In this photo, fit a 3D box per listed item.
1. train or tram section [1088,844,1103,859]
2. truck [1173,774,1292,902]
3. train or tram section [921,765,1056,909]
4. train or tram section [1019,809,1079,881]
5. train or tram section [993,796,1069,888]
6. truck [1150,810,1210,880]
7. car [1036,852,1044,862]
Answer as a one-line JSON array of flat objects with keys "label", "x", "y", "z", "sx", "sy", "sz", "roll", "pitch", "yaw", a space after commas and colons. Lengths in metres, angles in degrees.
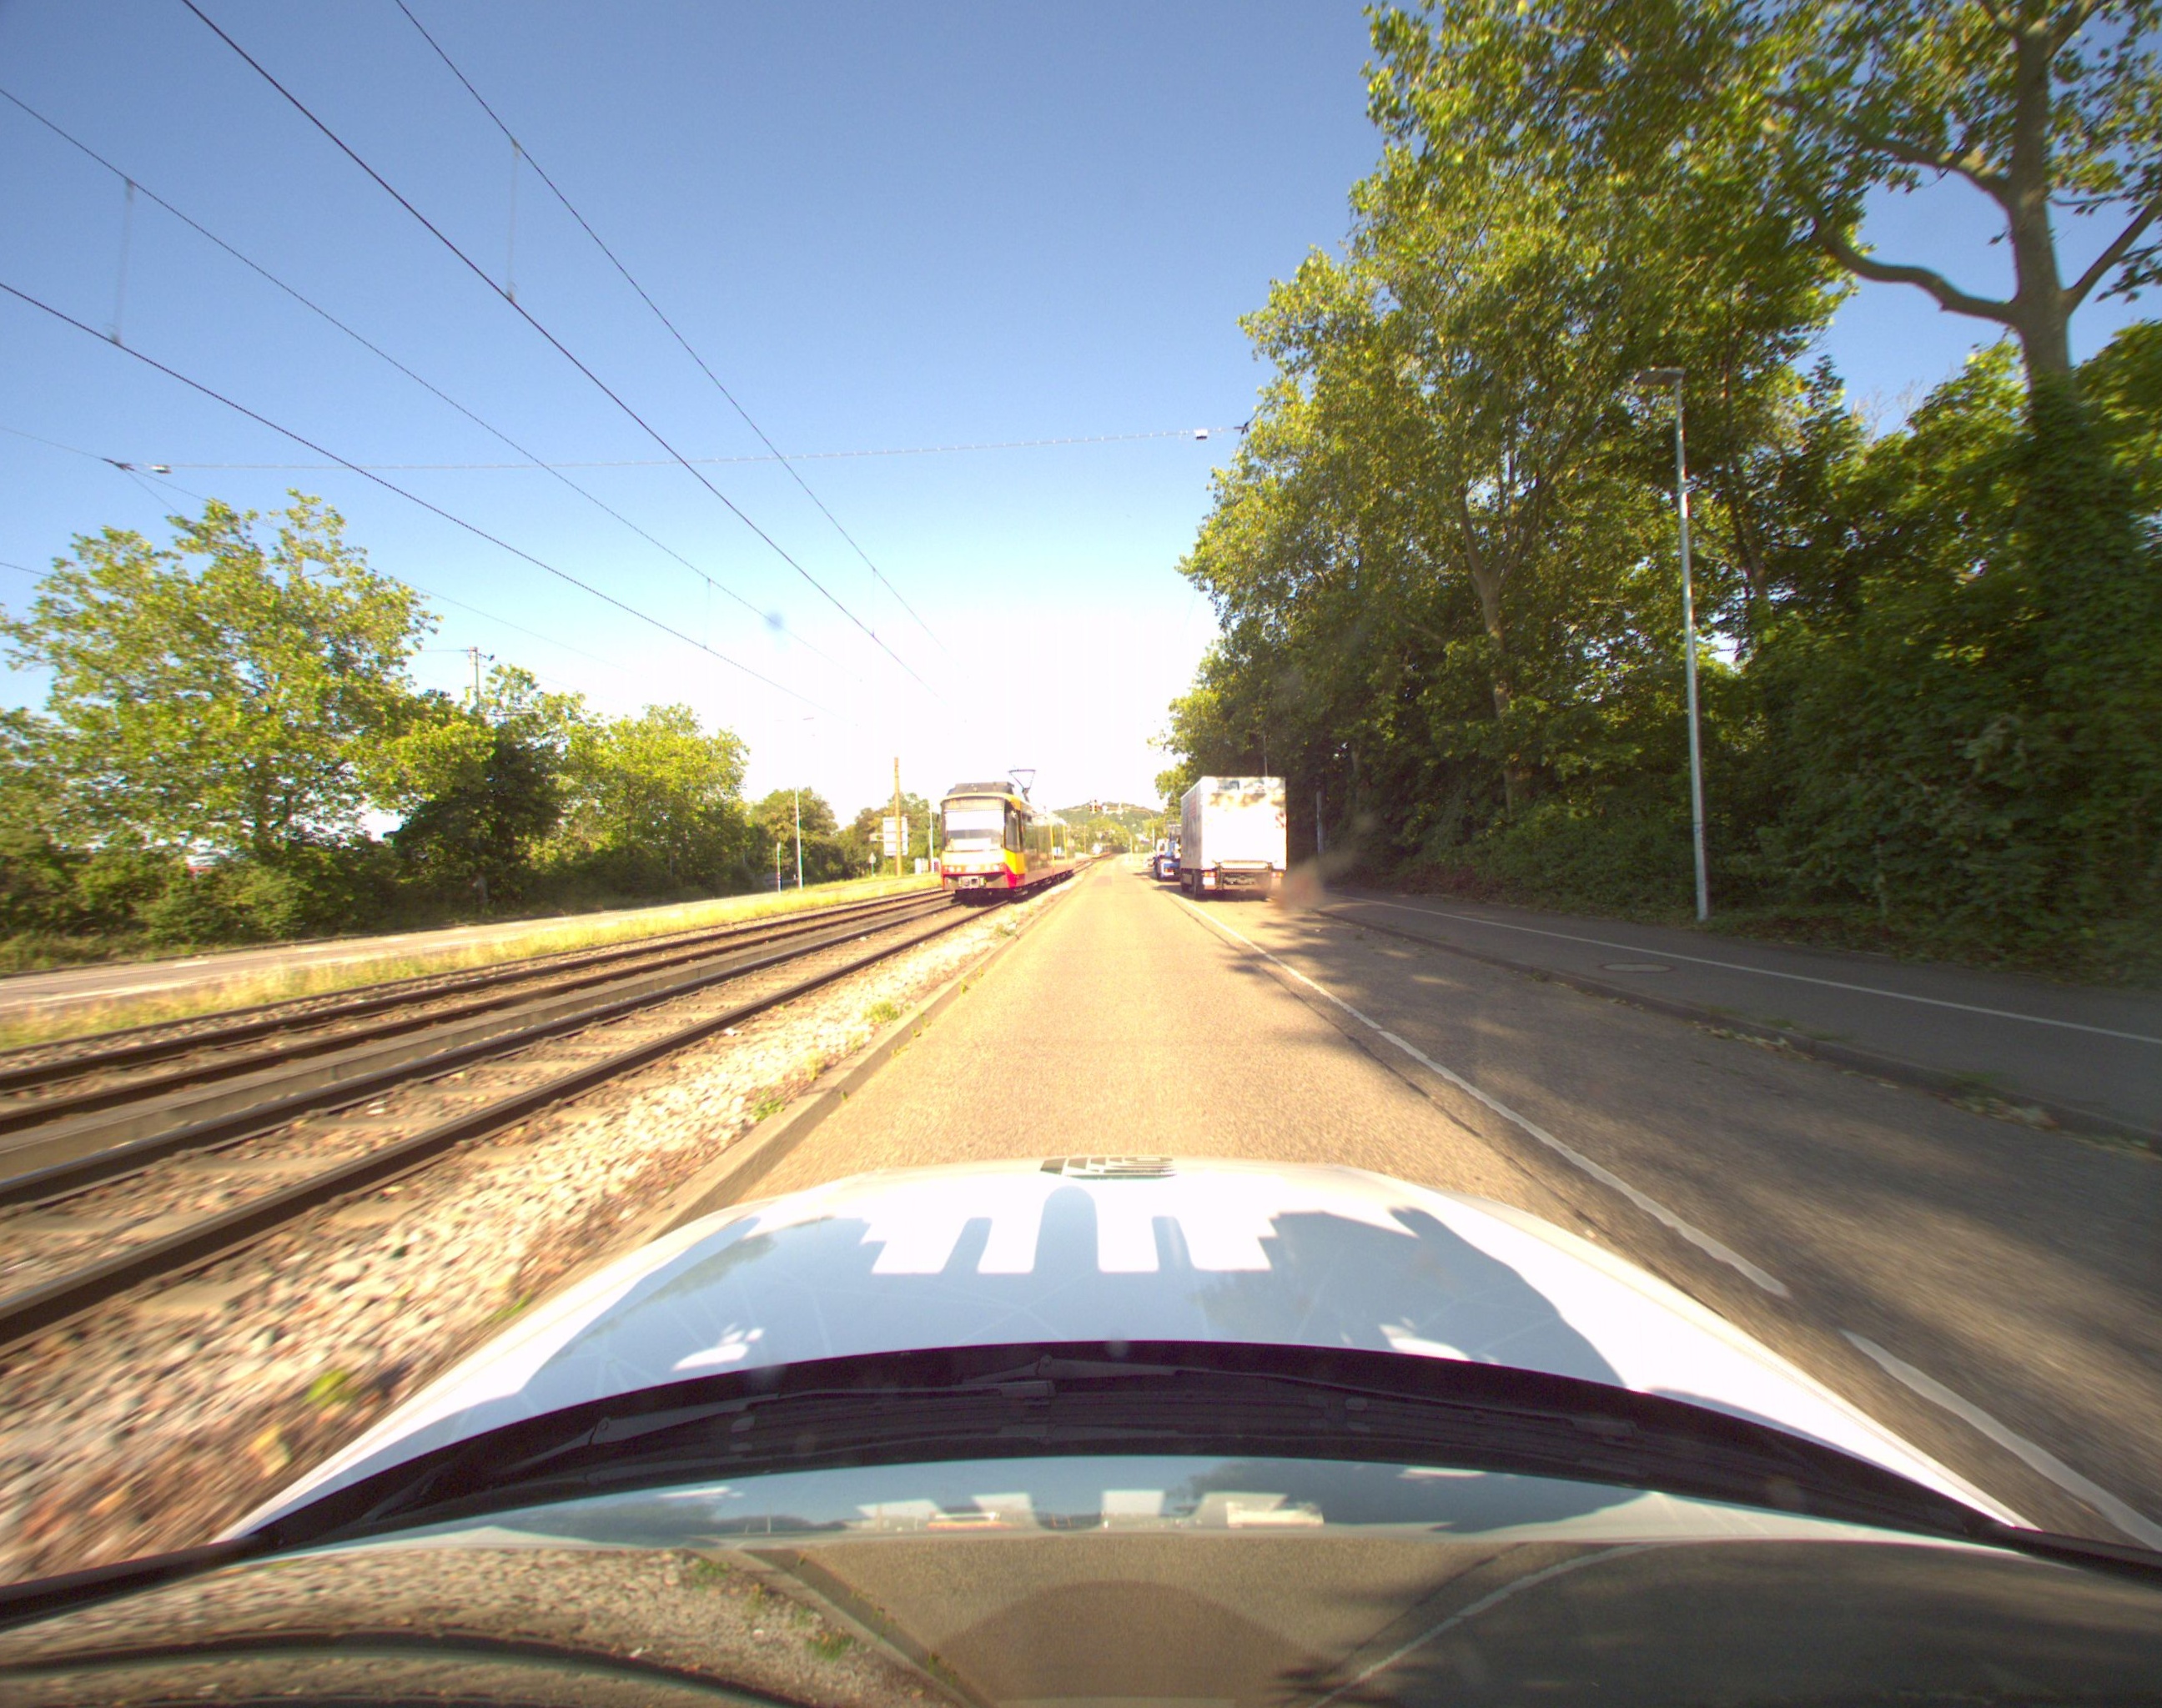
[{"label": "train or tram section", "x": 3.764, "y": -0.669, "z": 204.418, "sx": 2.631, "sy": 3.567, "sz": 10.850, "roll": -3, "pitch": 0, "yaw": 6}, {"label": "truck", "x": 5.069, "y": -0.468, "z": 29.265, "sx": 2.731, "sy": 3.783, "sz": 10.094, "roll": 0, "pitch": 0, "yaw": 2}, {"label": "train or tram section", "x": -2.931, "y": -0.502, "z": 30.704, "sx": 2.710, "sy": 4.091, "sz": 13.624, "roll": -3, "pitch": 0, "yaw": 3}, {"label": "train or tram section", "x": -1.895, "y": -0.540, "z": 53.810, "sx": 2.709, "sy": 4.089, "sz": 12.821, "roll": -3, "pitch": 0, "yaw": 3}, {"label": "train or tram section", "x": -2.385, "y": -0.555, "z": 42.456, "sx": 2.684, "sy": 4.089, "sz": 9.916, "roll": -3, "pitch": 0, "yaw": 2}, {"label": "truck", "x": 5.708, "y": -0.474, "z": 48.518, "sx": 2.707, "sy": 3.783, "sz": 9.766, "roll": 0, "pitch": 0, "yaw": 2}, {"label": "car", "x": -8.939, "y": 0.698, "z": 178.134, "sx": 1.719, "sy": 2.014, "sz": 3.998, "roll": -1, "pitch": -1, "yaw": -1}]
